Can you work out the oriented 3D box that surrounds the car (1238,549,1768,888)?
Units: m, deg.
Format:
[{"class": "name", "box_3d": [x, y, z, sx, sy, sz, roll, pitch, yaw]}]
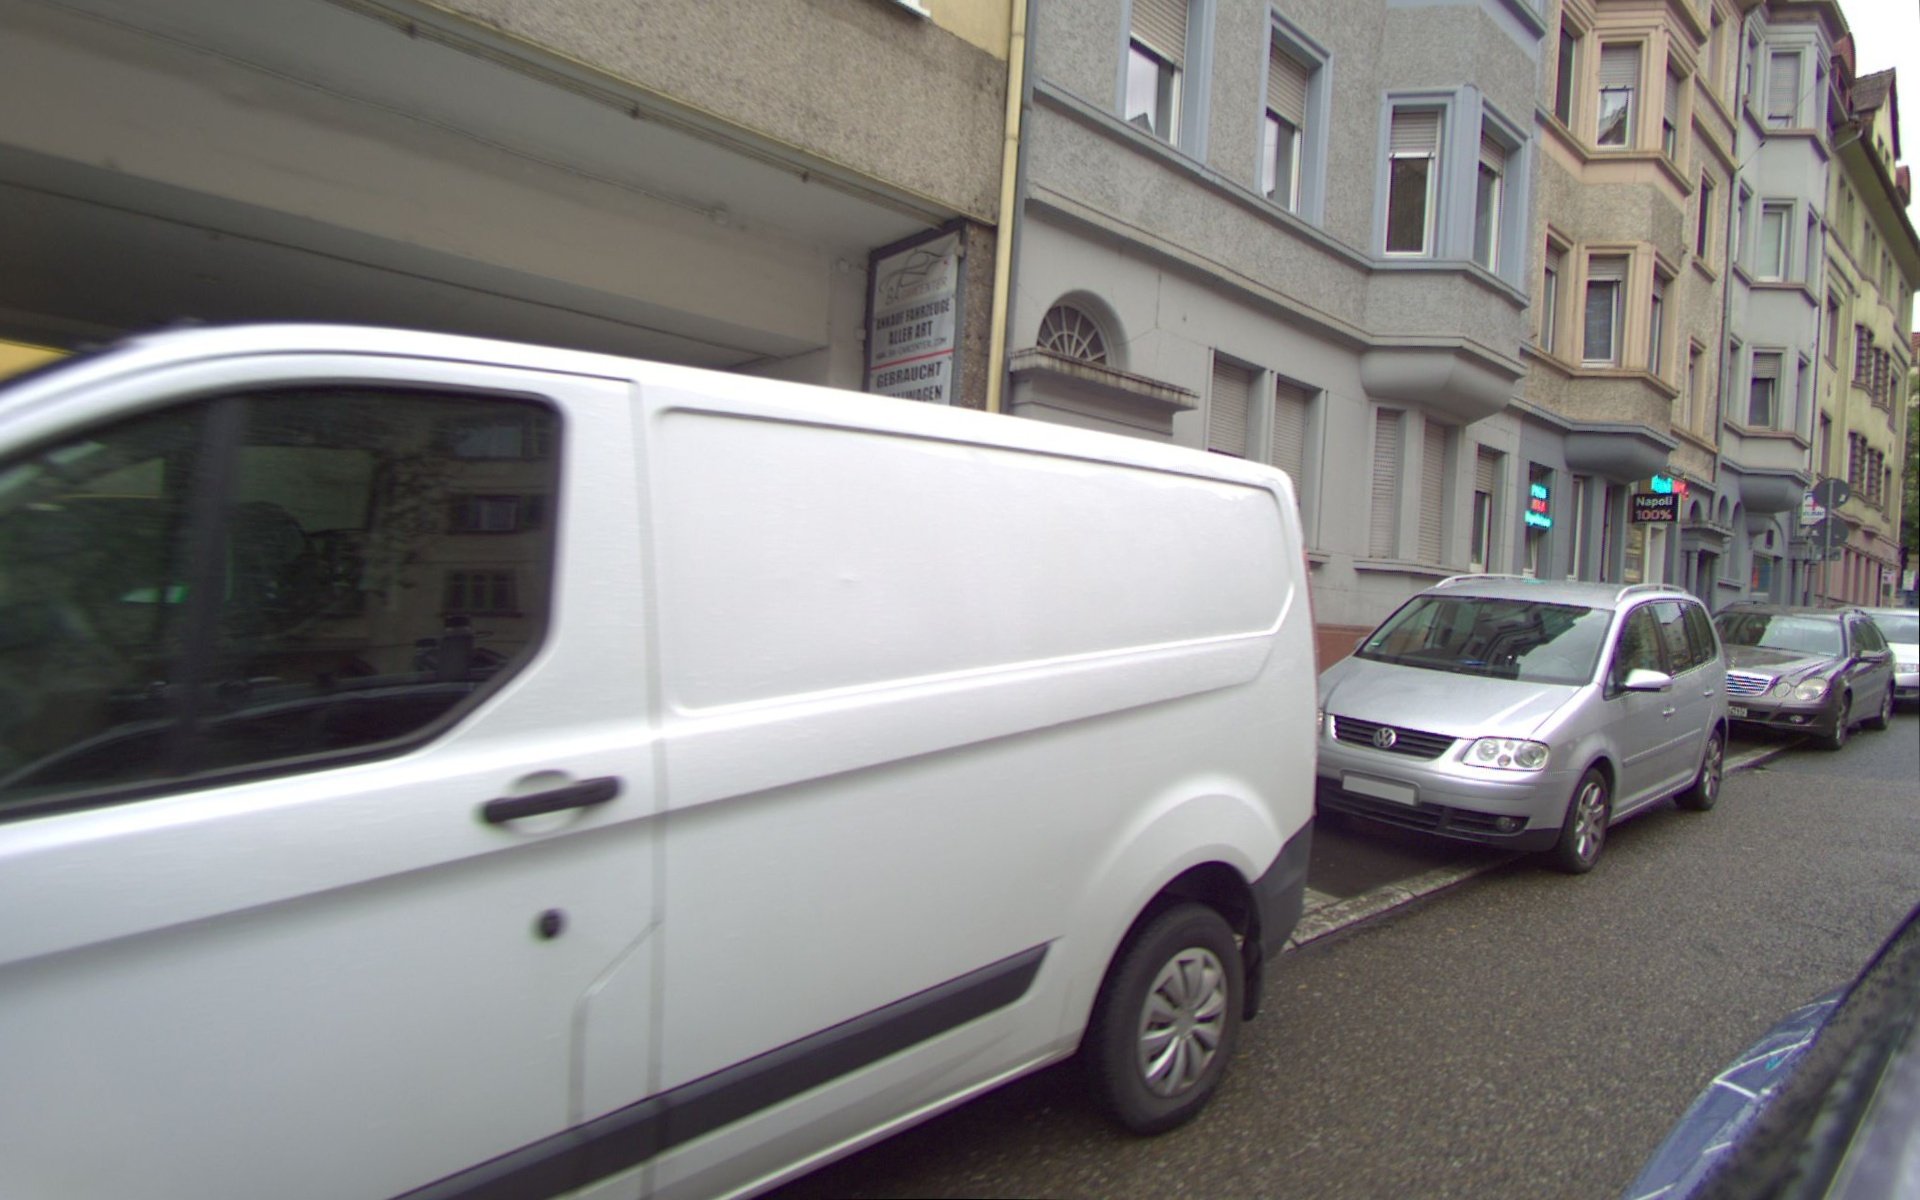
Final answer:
[{"class": "car", "box_3d": [3.930, 0.569, 6.992, 4.235, 1.617, 1.731, 1, 3, -40]}]

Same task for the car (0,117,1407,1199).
[{"class": "car", "box_3d": [-0.968, 0.374, 2.668, 4.737, 1.979, 1.994, 1, 3, -41]}]

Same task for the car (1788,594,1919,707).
[{"class": "car", "box_3d": [14.290, 0.708, 15.528, 3.863, 1.459, 1.709, 1, 3, -40]}]

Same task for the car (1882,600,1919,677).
[{"class": "car", "box_3d": [19.365, 0.732, 19.643, 3.863, 1.414, 1.708, 1, 0, -40]}]

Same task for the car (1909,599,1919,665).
[{"class": "car", "box_3d": [23.386, 0.782, 23.326, 3.863, 1.459, 1.709, 1, 3, -40]}]

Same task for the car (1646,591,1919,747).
[{"class": "car", "box_3d": [9.985, 0.707, 12.163, 4.281, 1.459, 1.731, 1, 3, -40]}]
